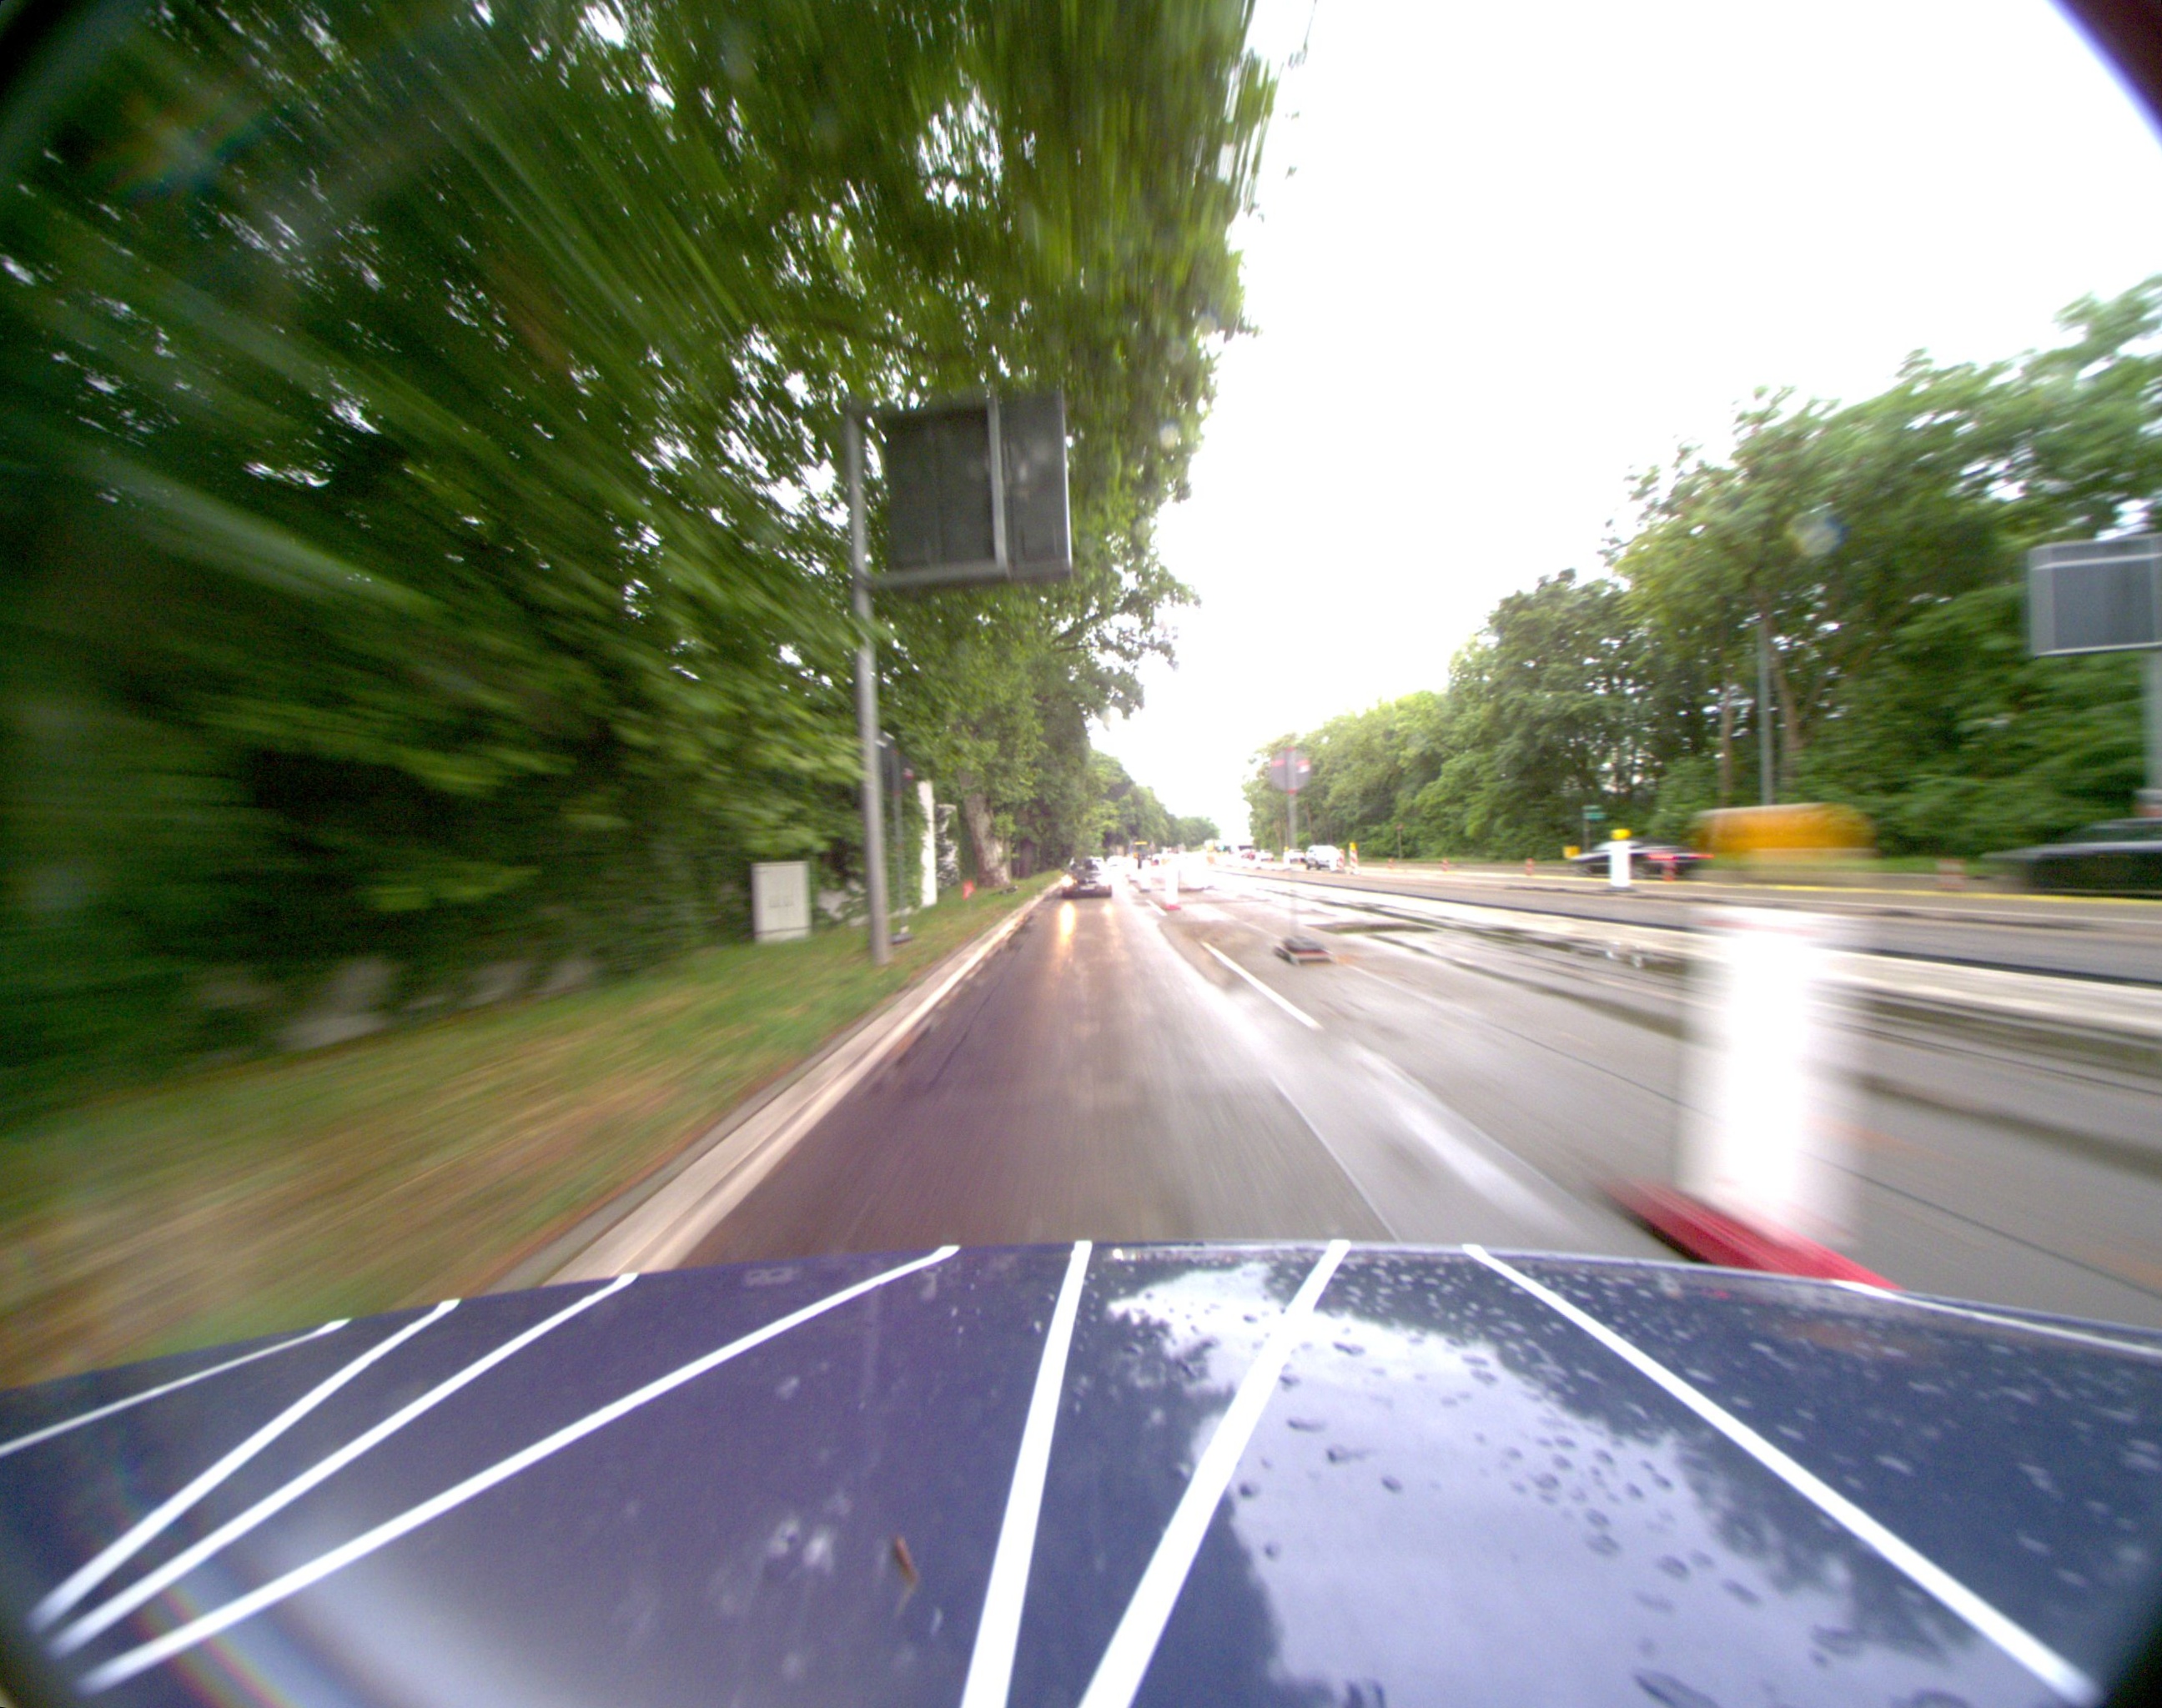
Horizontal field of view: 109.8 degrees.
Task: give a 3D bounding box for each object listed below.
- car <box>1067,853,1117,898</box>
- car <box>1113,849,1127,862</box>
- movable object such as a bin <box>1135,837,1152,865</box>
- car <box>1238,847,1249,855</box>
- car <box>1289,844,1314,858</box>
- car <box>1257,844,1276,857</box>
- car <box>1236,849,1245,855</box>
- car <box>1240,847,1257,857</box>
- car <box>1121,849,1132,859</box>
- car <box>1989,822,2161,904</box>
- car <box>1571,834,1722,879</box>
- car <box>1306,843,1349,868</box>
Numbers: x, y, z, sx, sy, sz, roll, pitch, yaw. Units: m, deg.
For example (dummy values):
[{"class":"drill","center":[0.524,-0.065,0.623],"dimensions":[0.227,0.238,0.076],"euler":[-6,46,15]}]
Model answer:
[{"class":"car","center":[0.355,0.743,28.293],"dimensions":[1.702,1.477,3.999],"euler":[-1,1,-1]},{"class":"car","center":[5.604,0.217,108.011],"dimensions":[1.706,1.681,4.474],"euler":[-1,1,7]},{"class":"movable object such as a bin","center":[7.100,-0.344,86.134],"dimensions":[1.807,2.968,5.247],"euler":[-1,0,5]},{"class":"car","center":[32.530,-0.584,152.217],"dimensions":[1.787,1.444,4.685],"euler":[-2,0,10]},{"class":"car","center":[24.628,-0.303,85.057],"dimensions":[1.670,1.532,4.158],"euler":[0,0,2]},{"class":"car","center":[27.048,-0.522,110.765],"dimensions":[1.781,1.741,4.380],"euler":[-2,0,1]},{"class":"car","center":[37.770,-0.548,180.061],"dimensions":[1.787,1.418,4.472],"euler":[-2,0,10]},{"class":"car","center":[27.644,-0.375,125.433],"dimensions":[1.781,1.654,4.915],"euler":[0,0,1]},{"class":"car","center":[8.466,-0.003,141.889],"dimensions":[1.706,1.681,4.474],"euler":[-1,1,7]},{"class":"car","center":[18.731,0.136,12.810],"dimensions":[1.822,1.347,4.204],"euler":[-1,0,0]},{"class":"car","center":[18.865,0.077,25.649],"dimensions":[1.822,1.347,4.389],"euler":[-1,0,0]},{"class":"car","center":[16.249,0.089,50.328],"dimensions":[1.793,1.574,3.862],"euler":[-2,0,4]}]
